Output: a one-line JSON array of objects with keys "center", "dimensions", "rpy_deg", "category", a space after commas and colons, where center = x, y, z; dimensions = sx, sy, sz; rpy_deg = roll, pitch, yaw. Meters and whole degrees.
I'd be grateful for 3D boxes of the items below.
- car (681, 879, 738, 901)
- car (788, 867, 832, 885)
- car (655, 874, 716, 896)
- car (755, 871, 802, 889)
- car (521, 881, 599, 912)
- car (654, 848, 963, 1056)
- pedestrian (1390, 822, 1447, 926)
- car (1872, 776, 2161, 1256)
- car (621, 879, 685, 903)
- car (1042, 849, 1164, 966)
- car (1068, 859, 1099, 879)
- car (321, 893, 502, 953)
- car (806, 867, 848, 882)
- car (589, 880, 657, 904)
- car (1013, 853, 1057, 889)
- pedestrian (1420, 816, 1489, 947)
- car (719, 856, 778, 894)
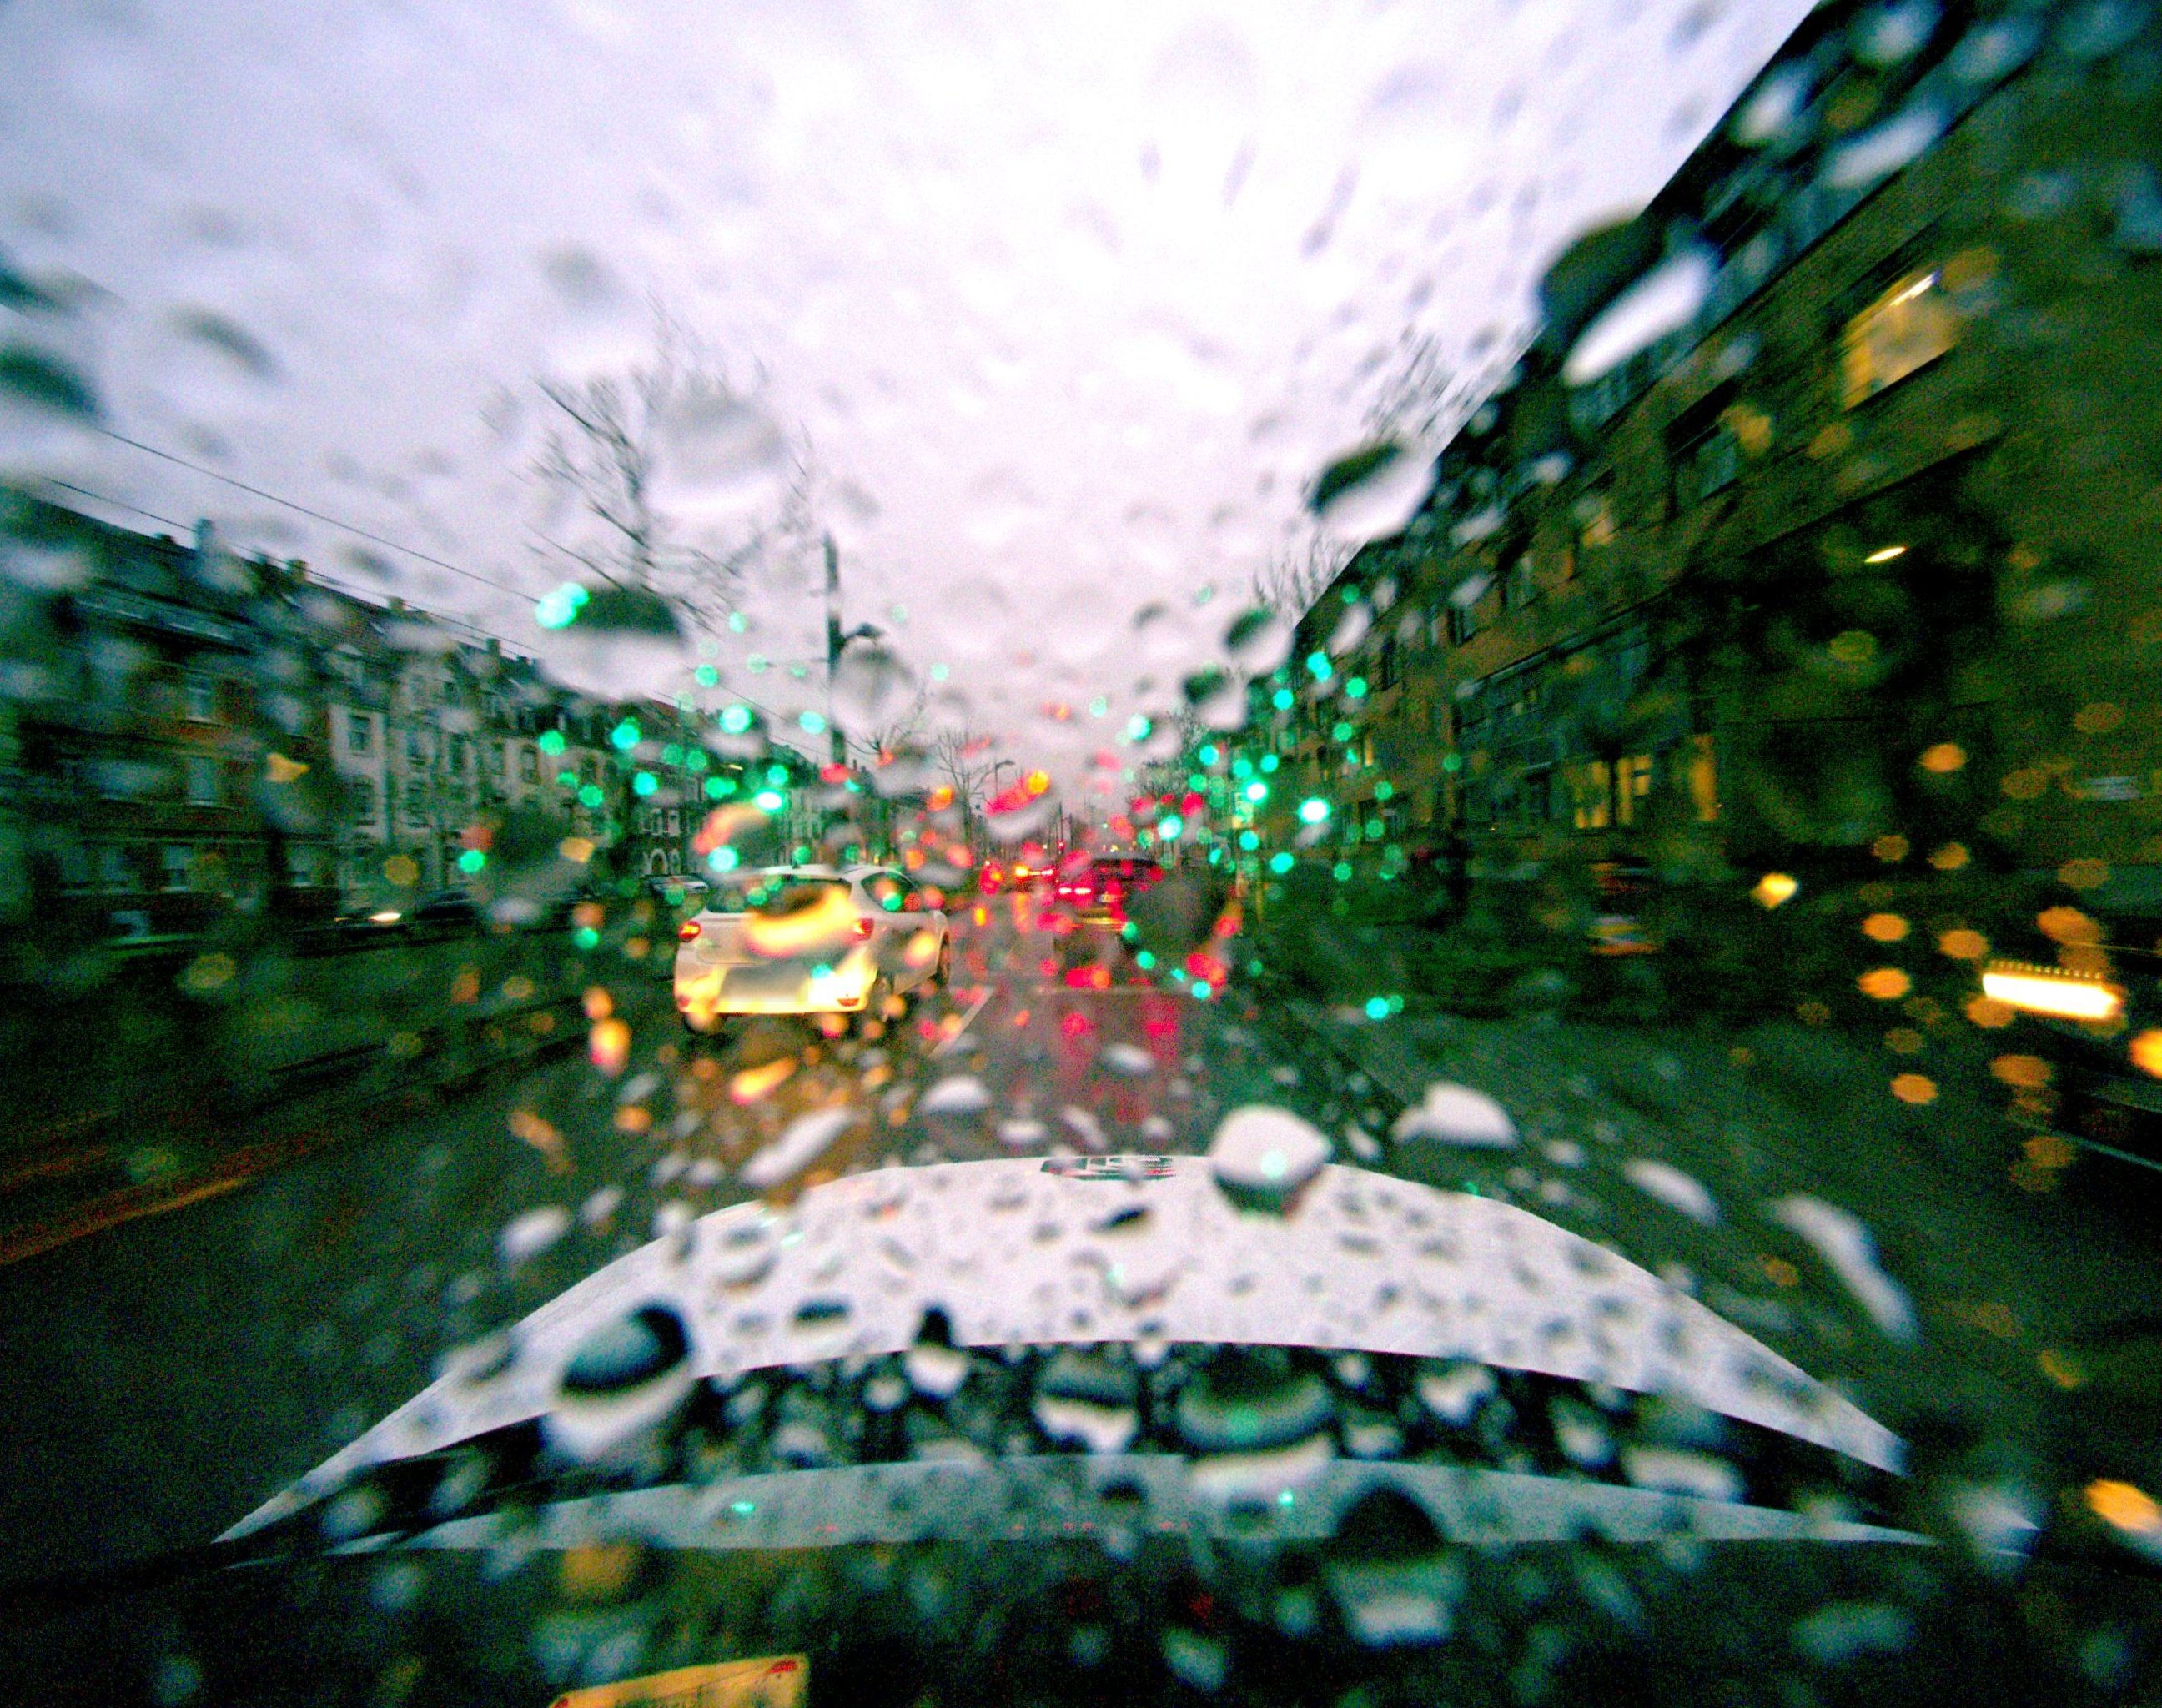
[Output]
[{"center": [-26.215, 2.551, 57.450], "dimensions": [3.948, 1.332, 2.013], "rpy_deg": [-3, 0, 39], "category": "car"}, {"center": [-25.785, 2.111, 77.395], "dimensions": [3.948, 1.486, 2.013], "rpy_deg": [-3, 0, 36], "category": "car"}, {"center": [-26.383, 2.071, 54.258], "dimensions": [3.948, 1.332, 2.013], "rpy_deg": [-3, 0, 36], "category": "car"}, {"center": [-26.273, 2.271, 70.714], "dimensions": [3.948, 1.332, 2.013], "rpy_deg": [-3, 0, 39], "category": "car"}, {"center": [-26.122, 2.133, 40.817], "dimensions": [3.948, 1.332, 2.013], "rpy_deg": [-3, 0, 37], "category": "car"}, {"center": [-2.440, 0.773, 8.417], "dimensions": [1.665, 1.600, 4.055], "rpy_deg": [-1, 0, 2], "category": "car"}, {"center": [5.891, 0.346, 14.230], "dimensions": [0.507, 1.742, 0.651], "rpy_deg": [-3, 0, -31], "category": "pedestrian"}, {"center": [5.441, 0.396, 2.609], "dimensions": [3.971, 1.555, 1.743], "rpy_deg": [-4, 0, 2], "category": "car"}, {"center": [-26.733, 2.308, 50.882], "dimensions": [3.948, 1.332, 2.013], "rpy_deg": [-3, 0, 37], "category": "car"}, {"center": [0.383, 0.755, 13.398], "dimensions": [1.665, 1.600, 4.055], "rpy_deg": [-1, 0, 2], "category": "car"}, {"center": [0.209, 1.046, 58.464], "dimensions": [1.986, 1.298, 3.481], "rpy_deg": [-3, 0, 2], "category": "car"}, {"center": [-21.614, 2.161, 26.598], "dimensions": [1.857, 1.453, 4.701], "rpy_deg": [-3, 0, 2], "category": "car"}, {"center": [-25.140, 2.026, 80.482], "dimensions": [3.948, 1.332, 2.013], "rpy_deg": [-3, 0, 39], "category": "car"}, {"center": [-25.608, 2.110, 45.498], "dimensions": [3.948, 1.169, 2.013], "rpy_deg": [-3, 0, 40], "category": "car"}, {"center": [-2.111, 0.773, 38.416], "dimensions": [1.665, 1.600, 4.055], "rpy_deg": [-1, 0, 2], "category": "car"}, {"center": [5.422, 0.391, 11.849], "dimensions": [0.506, 1.824, 0.652], "rpy_deg": [-3, 0, -24], "category": "pedestrian"}, {"center": [-26.444, 1.661, 64.631], "dimensions": [5.793, 2.797, 2.012], "rpy_deg": [-3, 0, 43], "category": "car"}]
